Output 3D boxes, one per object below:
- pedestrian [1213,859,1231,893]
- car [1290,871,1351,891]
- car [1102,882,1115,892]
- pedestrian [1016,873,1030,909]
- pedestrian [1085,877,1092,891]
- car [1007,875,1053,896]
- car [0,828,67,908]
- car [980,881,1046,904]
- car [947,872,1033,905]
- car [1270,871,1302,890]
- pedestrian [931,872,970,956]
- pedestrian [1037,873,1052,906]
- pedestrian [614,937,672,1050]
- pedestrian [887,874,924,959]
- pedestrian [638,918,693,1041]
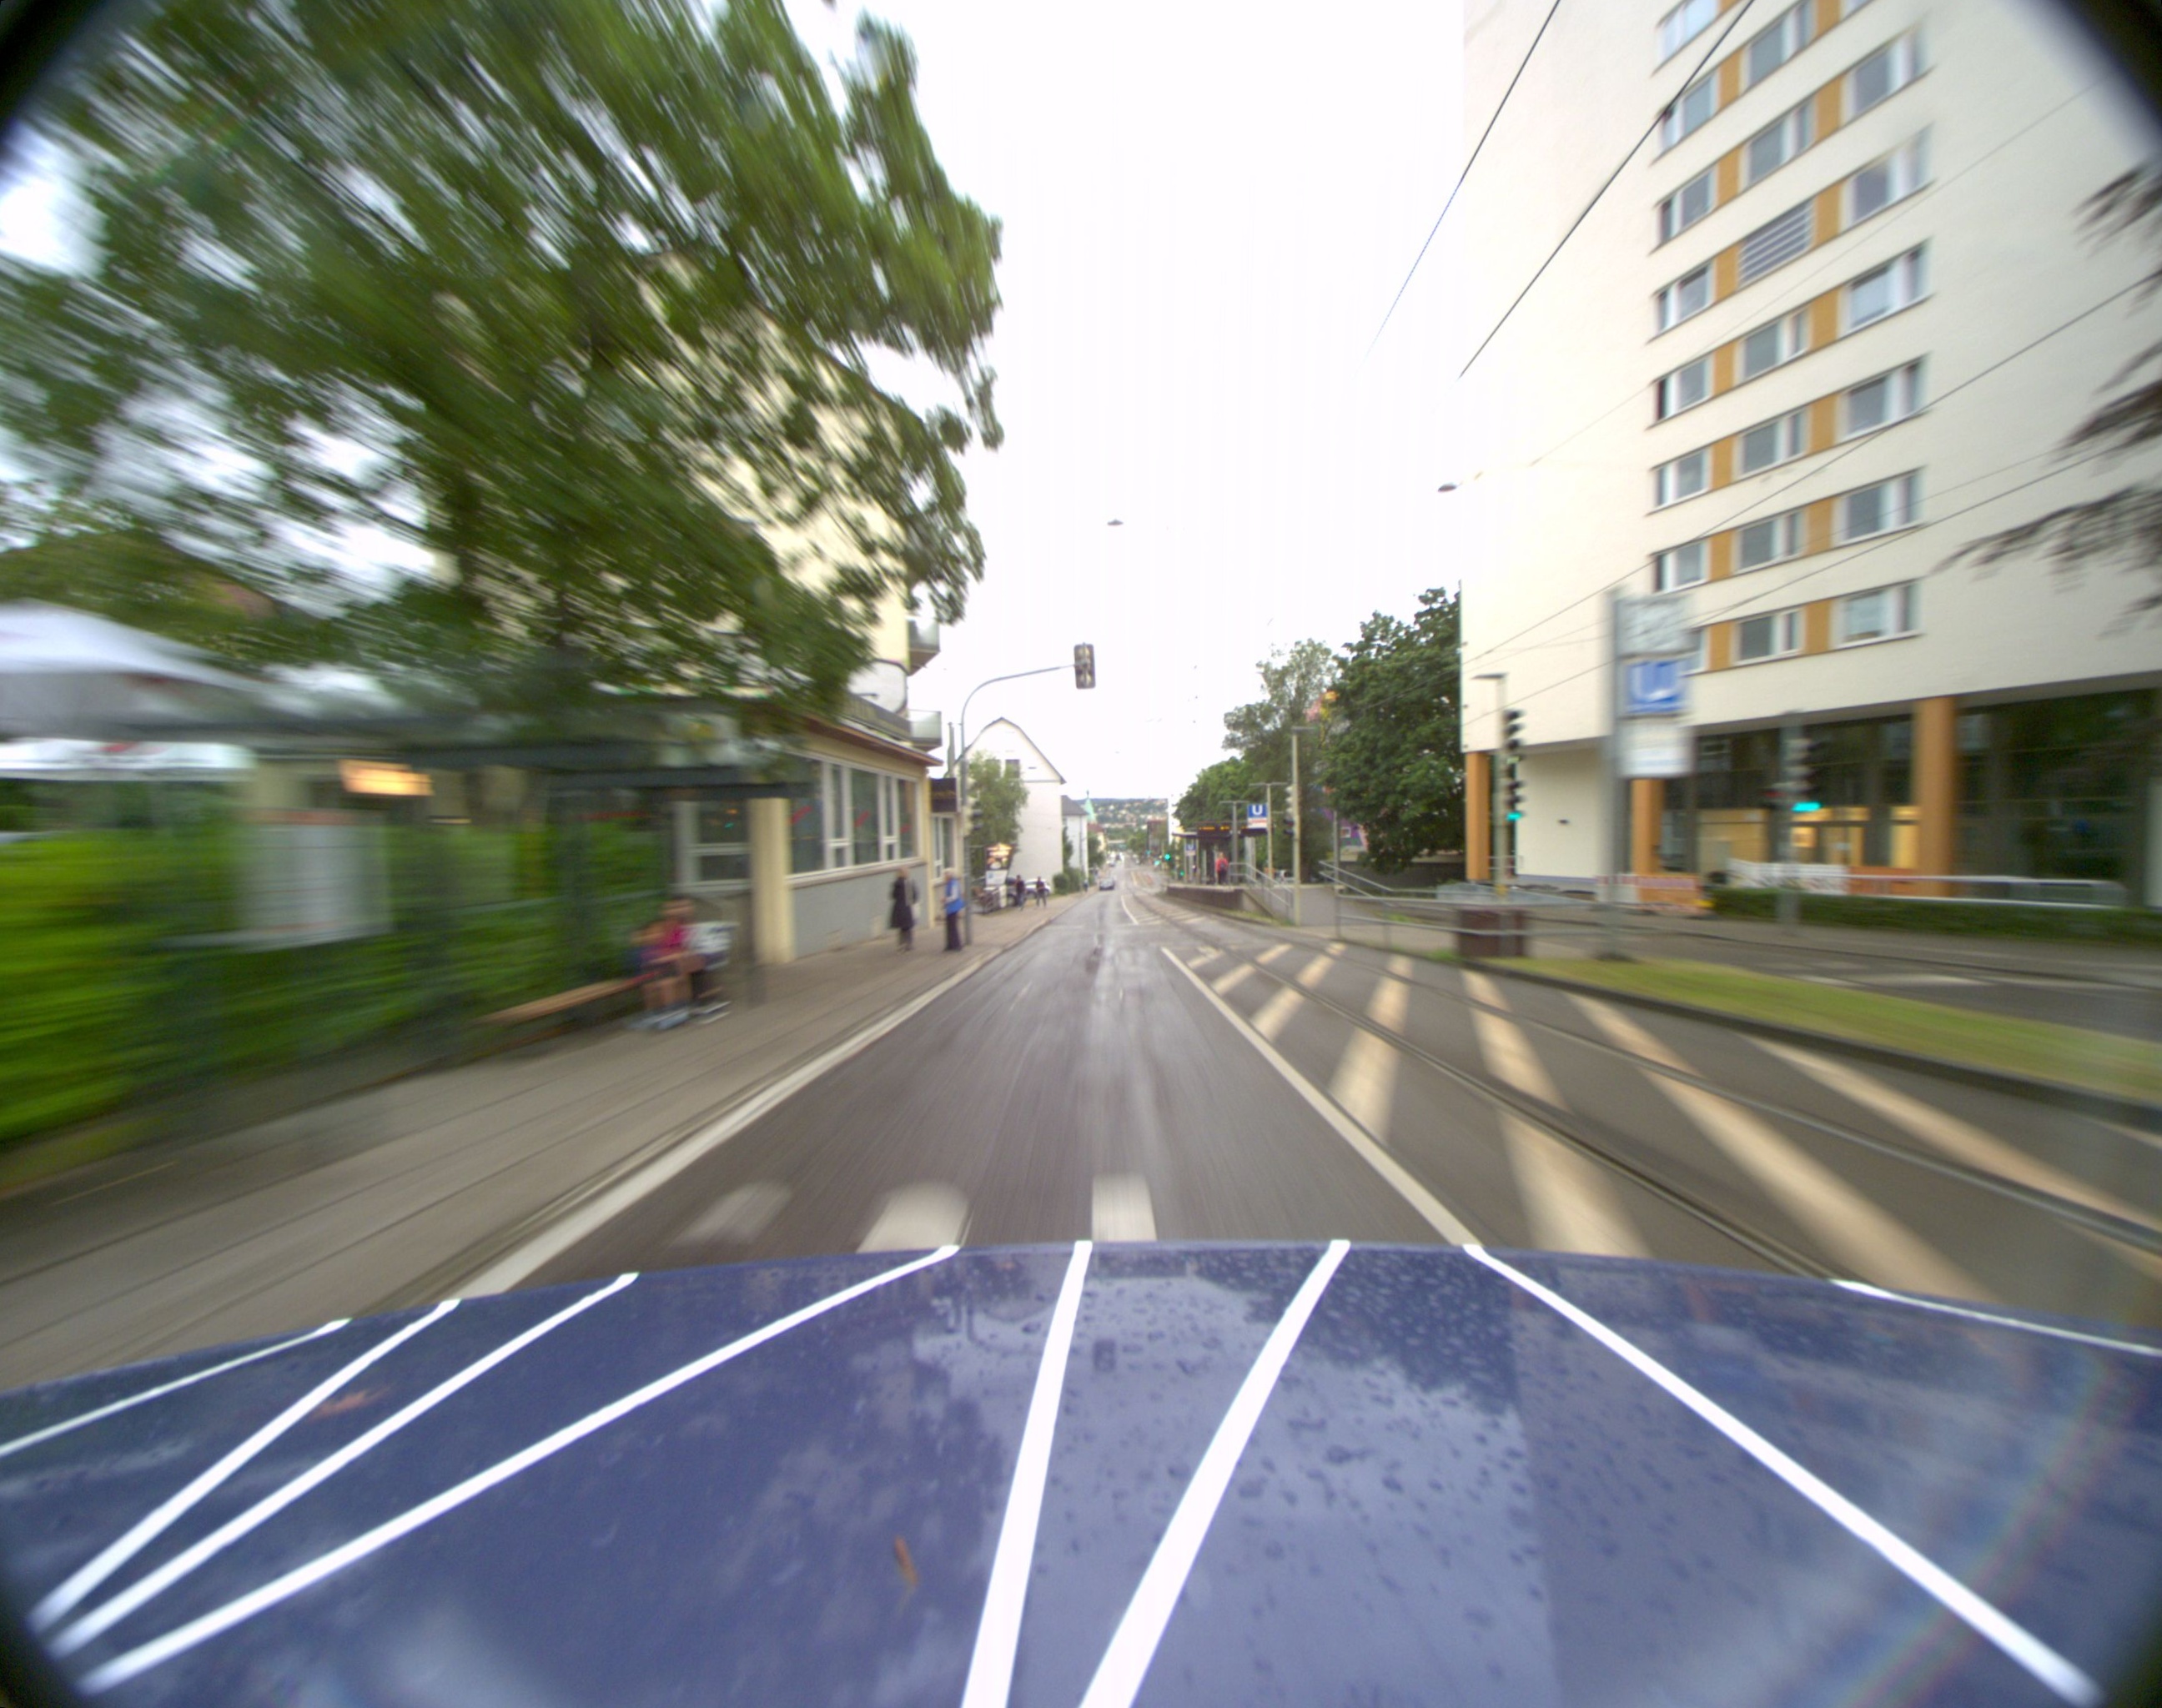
[{"bbox_3d":[6.524,1.014,35.231,0.672,1.538,0.771,-1,-1,1],"label":"pedestrian"},{"bbox_3d":[19.418,2.181,61.511,4.483,1.533,1.948,-2,-2,23],"label":"car"},{"bbox_3d":[3.897,4.614,107.072,1.725,1.350,4.002,-2,-1,4],"label":"car"},{"bbox_3d":[-2.787,1.765,36.535,0.580,1.703,0.614,-3,-1,-2],"label":"pedestrian"},{"bbox_3d":[0.866,3.511,88.118,0.657,1.611,0.630,-1,-1,8],"label":"pedestrian"},{"bbox_3d":[-4.467,2.754,66.889,3.998,1.459,1.815,-2,5,-2],"label":"car"},{"bbox_3d":[-23.289,0.308,15.404,1.696,1.680,3.796,-1,1,-26],"label":"car"},{"bbox_3d":[-5.395,3.063,60.505,4.943,1.428,1.975,-3,0,3],"label":"car"},{"bbox_3d":[-4.900,1.883,41.395,4.338,1.664,1.782,1,-2,4],"label":"car"},{"bbox_3d":[18.916,2.432,70.225,1.750,1.706,4.443,-1,-2,1],"label":"car"},{"bbox_3d":[-2.459,1.121,14.372,0.589,1.544,0.650,0,-1,2],"label":"pedestrian"},{"bbox_3d":[-1.871,1.831,39.085,0.721,1.703,0.608,0,-1,-4],"label":"pedestrian"},{"bbox_3d":[-4.061,1.282,7.058,0.325,0.989,0.318,1,-1,-2],"label":"pedestrian"},{"bbox_3d":[-3.266,1.152,14.158,0.547,1.544,0.559,0,-1,0],"label":"pedestrian"},{"bbox_3d":[-4.043,1.212,7.406,0.325,1.143,0.318,1,-1,-2],"label":"pedestrian"}]
